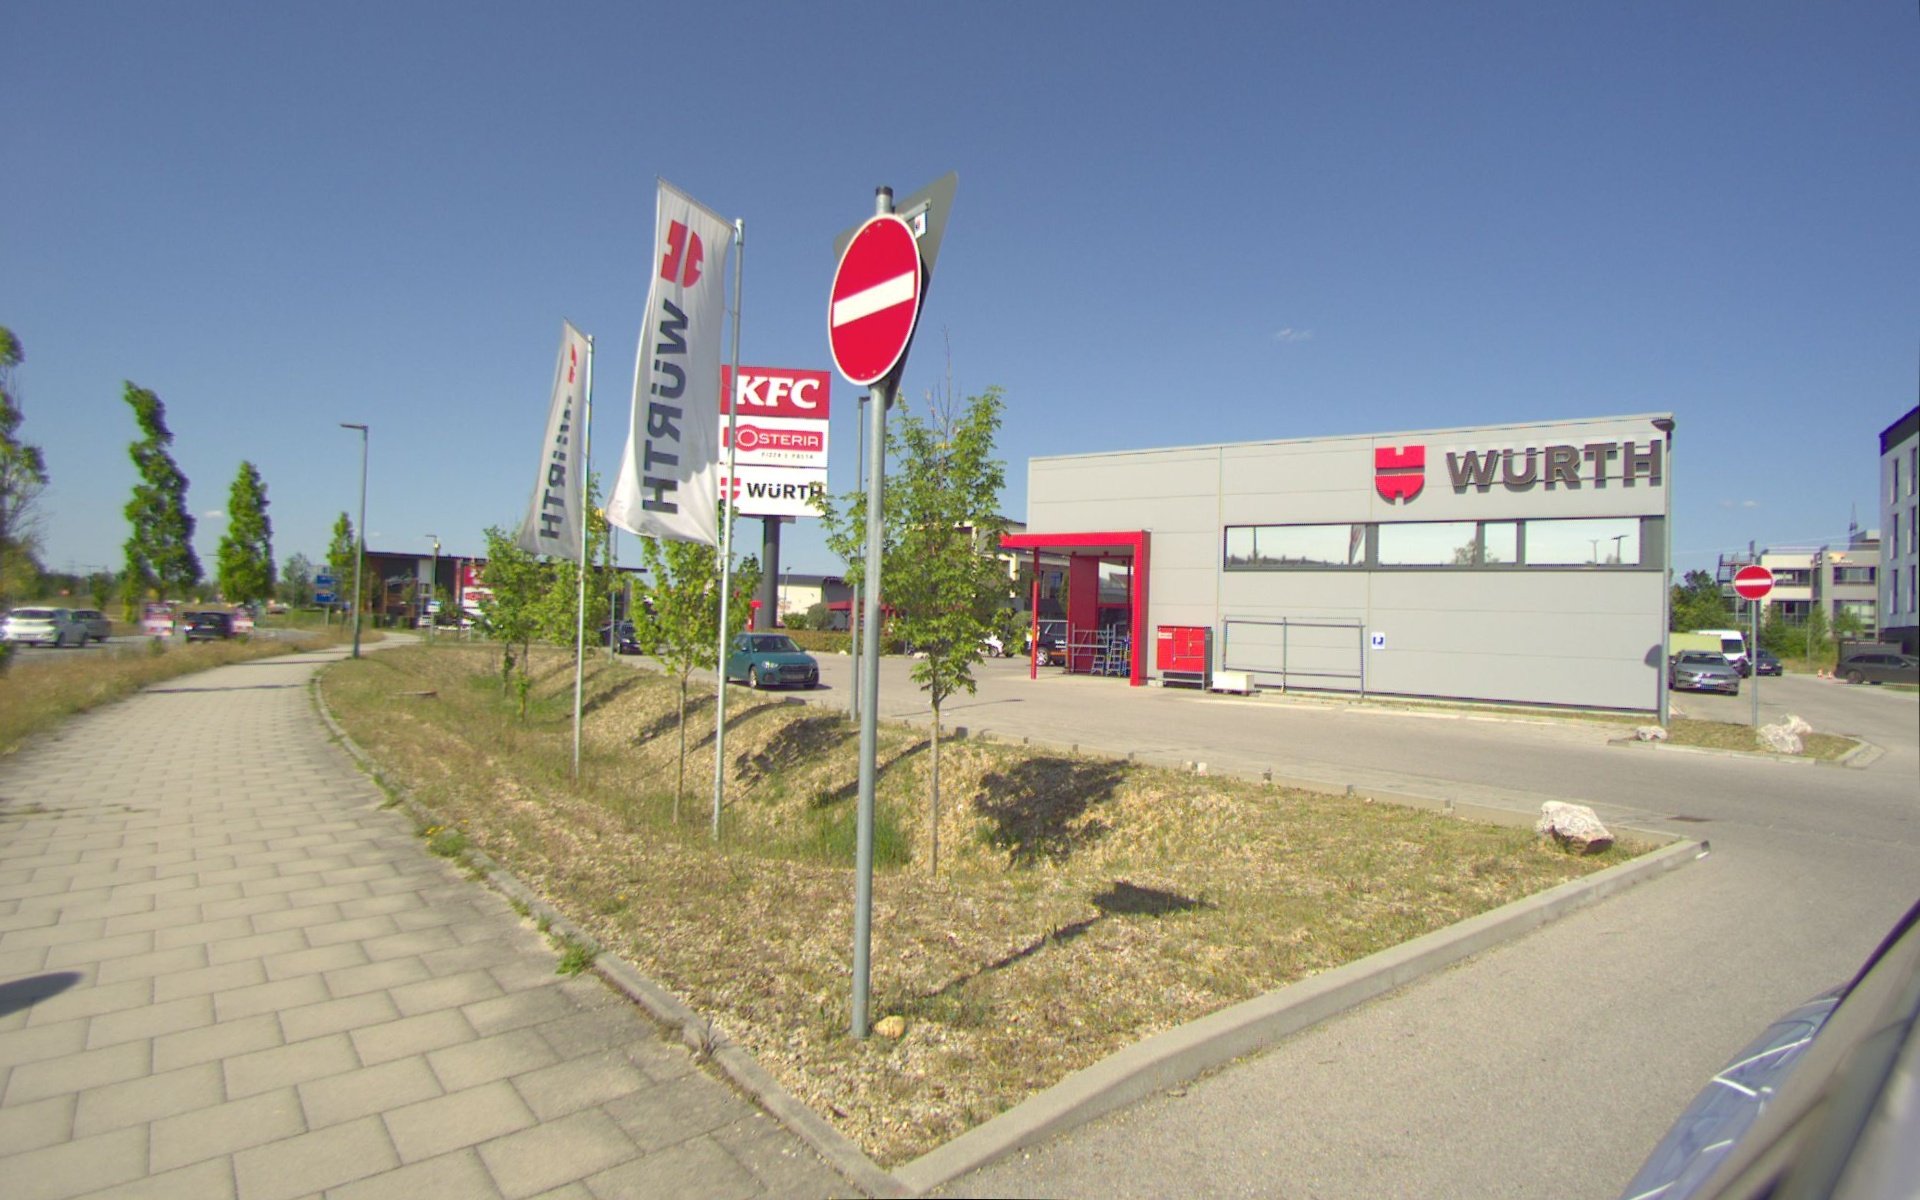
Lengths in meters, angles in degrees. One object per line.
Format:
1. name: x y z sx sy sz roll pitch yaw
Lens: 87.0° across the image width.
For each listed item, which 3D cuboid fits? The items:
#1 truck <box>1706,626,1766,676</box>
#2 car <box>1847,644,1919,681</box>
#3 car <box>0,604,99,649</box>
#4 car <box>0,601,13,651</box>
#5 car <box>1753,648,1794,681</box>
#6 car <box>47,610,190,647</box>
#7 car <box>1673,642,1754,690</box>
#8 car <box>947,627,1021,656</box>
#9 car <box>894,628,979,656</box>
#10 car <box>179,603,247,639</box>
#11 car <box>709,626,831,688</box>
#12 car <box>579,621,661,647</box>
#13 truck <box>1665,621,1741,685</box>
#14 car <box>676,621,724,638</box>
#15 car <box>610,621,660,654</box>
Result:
1. truck: 40.508 2.625 52.972 1.985 2.407 5.819 0 -2 33
2. car: 42.192 2.771 44.458 1.840 1.527 4.533 2 -2 -20
3. car: -33.952 0.948 37.570 1.907 1.571 4.767 1 -1 -27
4. car: -30.420 0.774 30.239 1.705 1.571 3.790 1 -1 -20
5. car: 45.275 3.579 56.391 1.709 1.639 3.944 0 -1 38
6. car: -37.591 1.248 45.382 1.916 1.571 4.743 0 -1 12
7. car: 26.480 2.272 35.671 1.864 1.527 3.955 0 -2 31
8. car: 1.338 2.311 56.910 3.892 1.493 1.778 0 -2 38
9. car: -1.234 2.187 52.854 4.123 1.355 1.809 0 -2 33
10. car: -34.253 0.961 46.527 1.875 1.571 4.393 1 -1 -28
11. car: -5.216 1.489 27.345 1.809 1.468 4.229 2 -2 -32
12. car: -20.829 2.097 62.069 4.442 1.477 2.002 2 -2 -30
13. truck: 30.126 2.100 41.178 2.108 2.407 5.819 0 -2 33
14. car: -25.031 2.834 97.534 1.872 1.586 4.031 -1 -2 44
15. car: -15.855 1.801 49.202 1.839 1.484 4.371 2 -2 -24
